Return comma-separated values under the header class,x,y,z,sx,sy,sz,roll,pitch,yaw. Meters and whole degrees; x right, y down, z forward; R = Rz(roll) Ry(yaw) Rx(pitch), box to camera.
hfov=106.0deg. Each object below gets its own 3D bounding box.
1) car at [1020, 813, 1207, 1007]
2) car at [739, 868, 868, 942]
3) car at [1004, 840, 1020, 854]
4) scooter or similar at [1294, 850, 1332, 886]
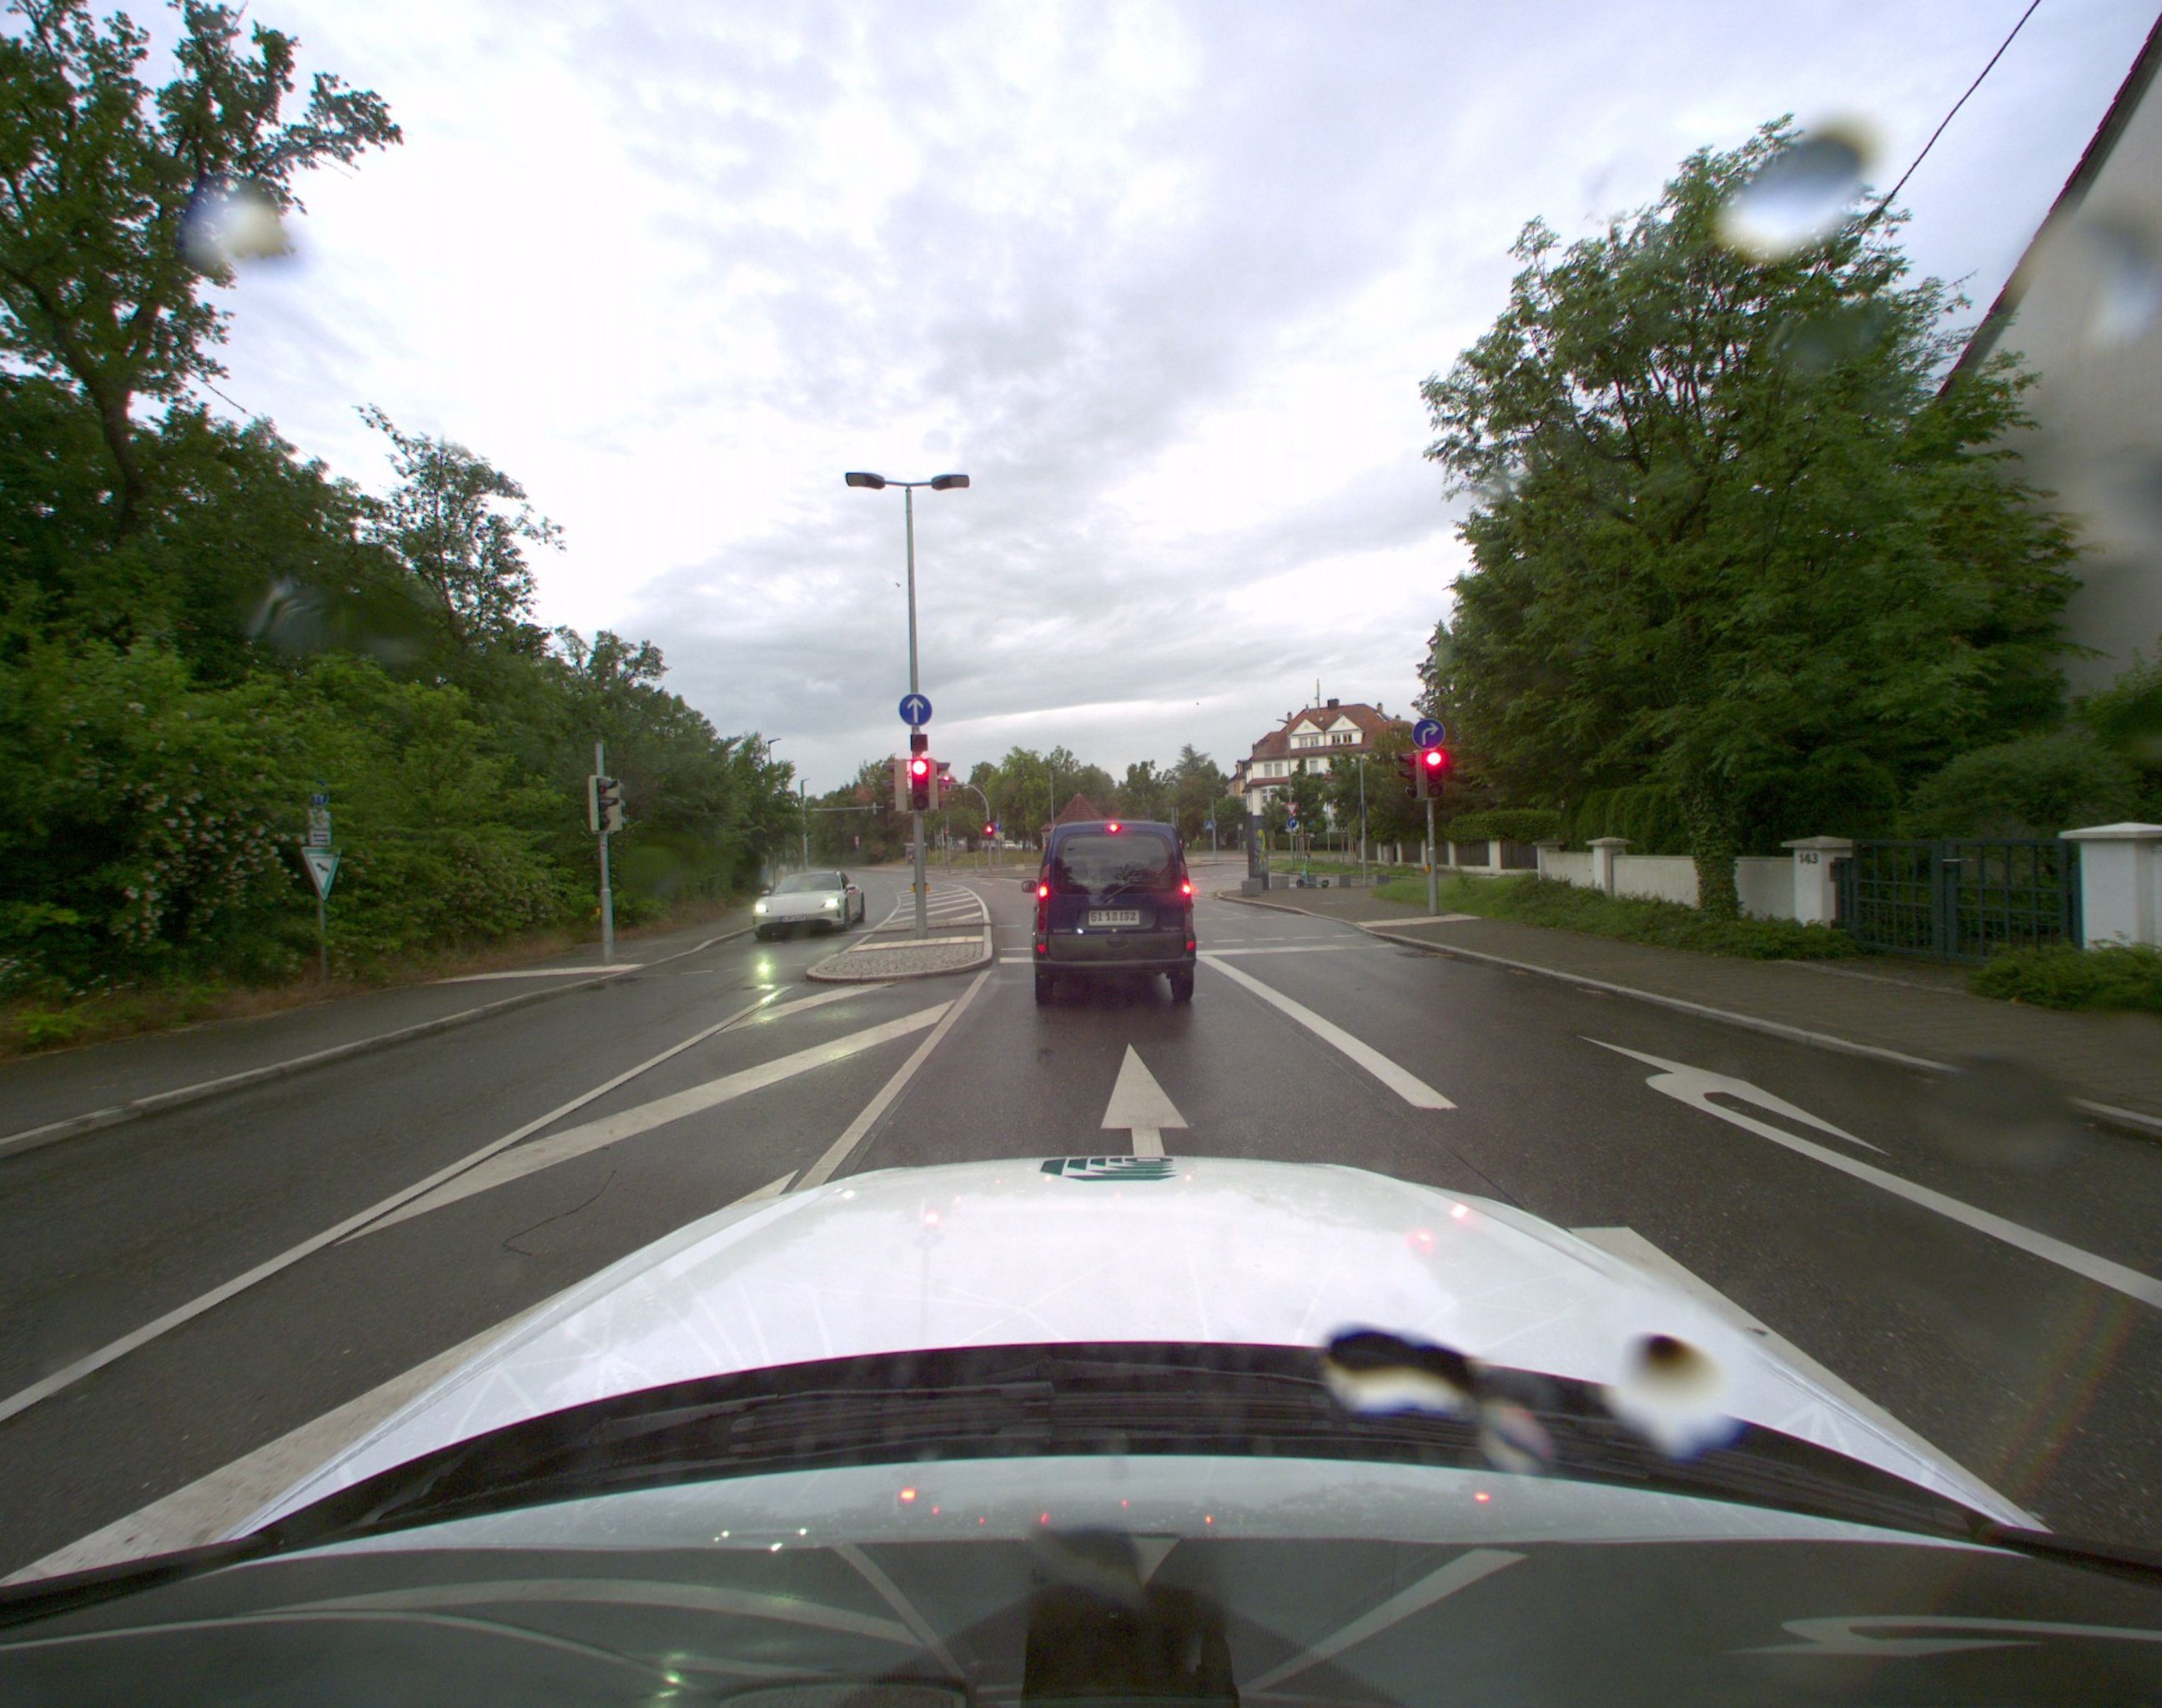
class,x,y,z,sx,sy,sz,roll,pitch,yaw
car,0.306,0.513,9.650,1.726,1.786,3.999,-1,0,0
car,-6.353,1.093,19.168,1.993,1.311,4.347,-5,1,-8
car,-9.429,-0.946,110.879,1.989,1.812,3.996,-1,-1,-3
scooter or similar,8.065,0.491,28.318,1.145,1.219,0.406,-2,-1,1
